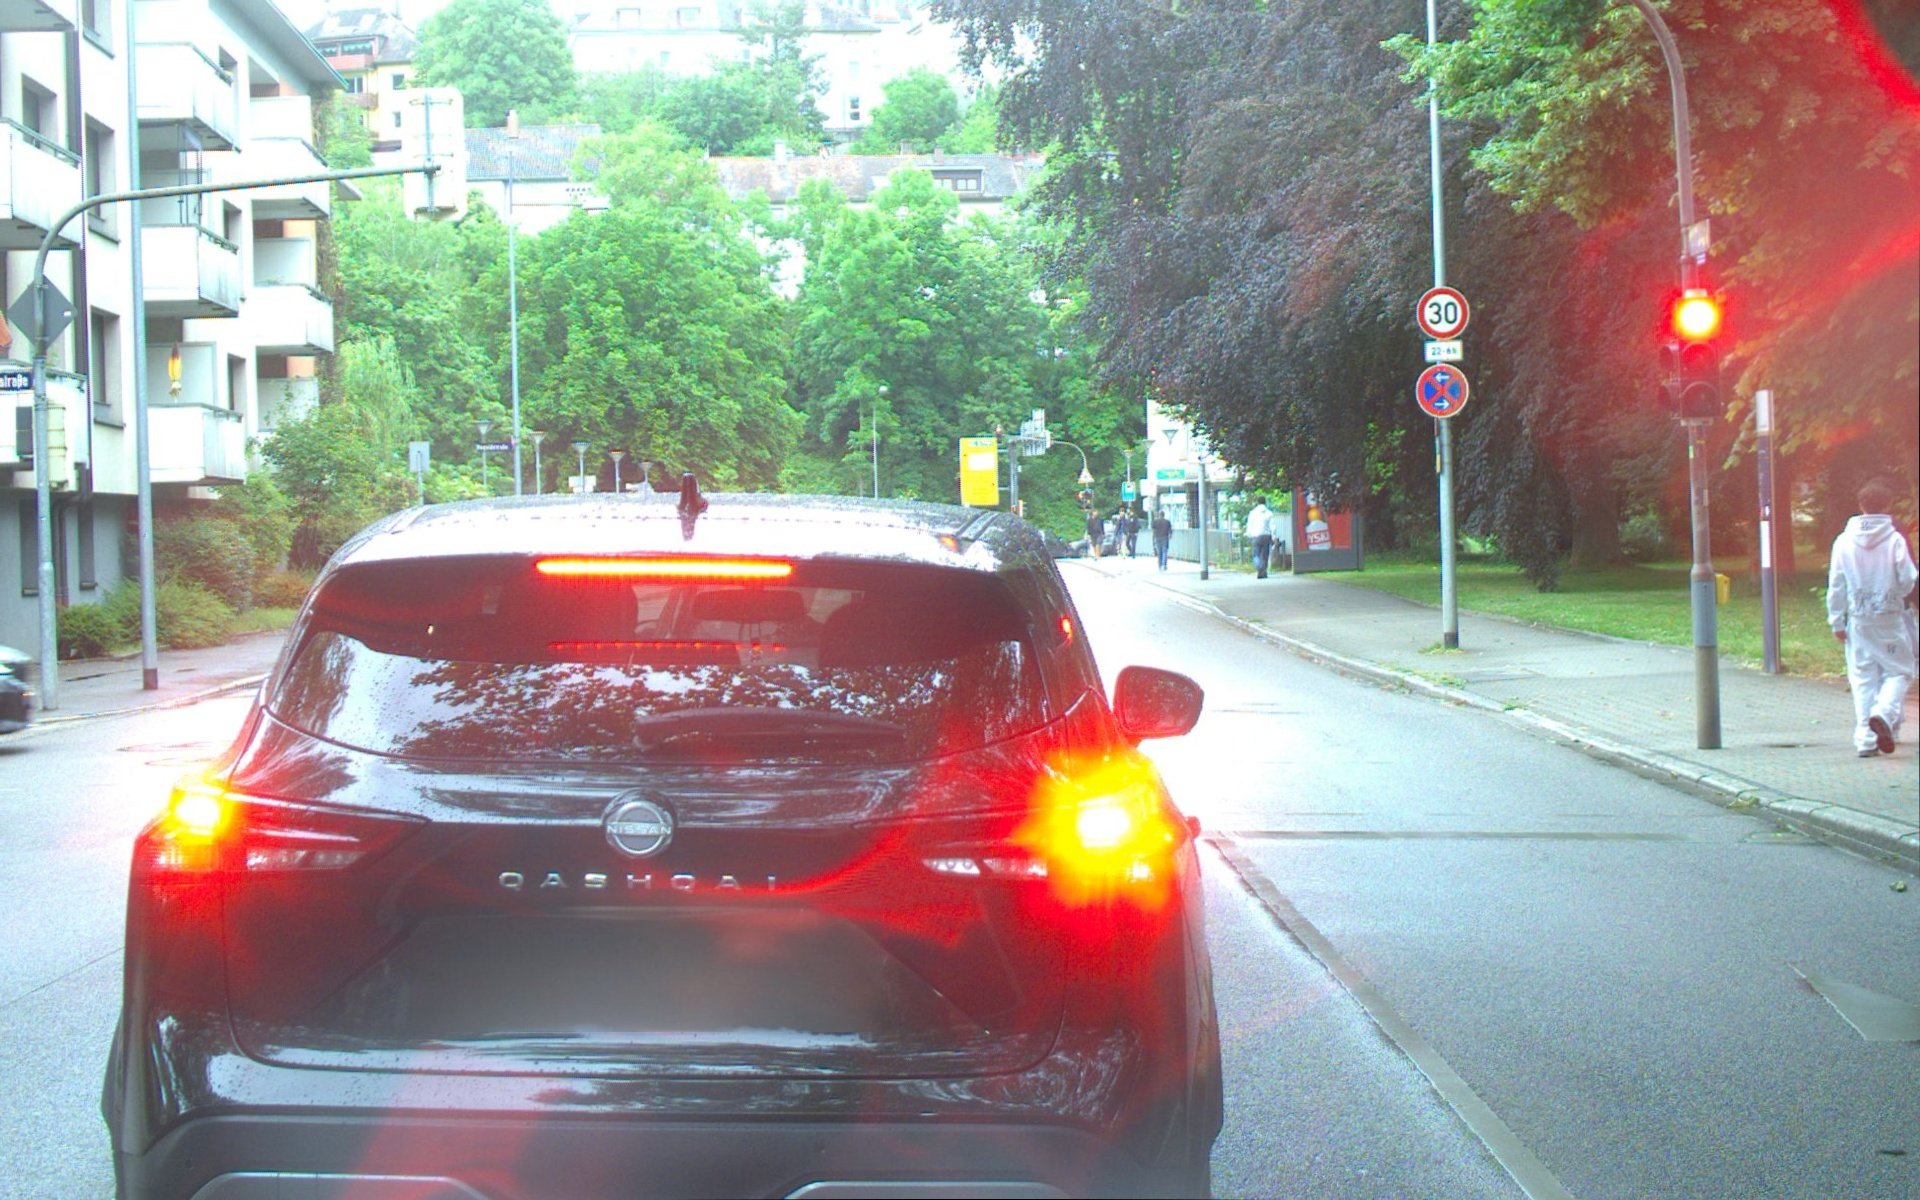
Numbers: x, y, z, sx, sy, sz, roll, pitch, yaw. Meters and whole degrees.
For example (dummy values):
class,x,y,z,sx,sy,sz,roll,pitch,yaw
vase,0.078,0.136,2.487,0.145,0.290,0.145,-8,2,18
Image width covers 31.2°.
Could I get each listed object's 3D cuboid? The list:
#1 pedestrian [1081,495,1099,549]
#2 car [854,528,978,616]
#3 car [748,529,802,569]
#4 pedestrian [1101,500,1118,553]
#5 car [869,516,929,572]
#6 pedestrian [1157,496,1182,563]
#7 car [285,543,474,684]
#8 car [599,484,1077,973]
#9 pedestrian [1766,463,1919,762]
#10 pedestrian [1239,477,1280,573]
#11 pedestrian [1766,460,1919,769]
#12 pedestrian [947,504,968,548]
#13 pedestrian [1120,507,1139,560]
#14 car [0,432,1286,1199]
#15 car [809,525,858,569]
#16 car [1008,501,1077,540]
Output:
class,x,y,z,sx,sy,sz,roll,pitch,yaw
pedestrian,4.421,-2.651,116.951,0.508,1.796,0.619,-2,1,-1
car,-0.812,-0.513,59.869,1.825,1.399,4.651,-2,1,-4
car,-7.523,-2.092,139.744,1.970,1.527,3.968,-2,1,-1
pedestrian,5.085,-2.508,117.061,0.508,1.796,0.659,-2,1,3
car,-1.734,-1.615,98.398,1.634,1.527,3.968,-2,1,-1
pedestrian,5.762,-1.941,94.458,0.509,1.796,0.619,-2,1,15
car,-6.859,0.122,40.924,1.795,1.528,3.868,-2,1,-4
car,-0.467,0.436,14.472,1.698,1.739,3.641,-2,1,-1
pedestrian,5.947,0.066,22.482,1.035,1.869,0.658,-4,1,-11
pedestrian,6.352,-1.586,73.025,0.725,2.007,0.851,-2,1,0
pedestrian,5.774,0.072,21.730,1.035,1.869,0.658,-4,1,-11
pedestrian,-0.087,-2.910,135.085,0.509,1.667,0.658,-2,1,27
pedestrian,5.767,-2.264,116.892,0.508,1.796,0.619,-2,1,-2
car,-0.503,0.553,7.009,1.913,1.674,4.000,0,1,0
car,-4.688,-1.977,127.863,1.634,1.527,3.968,-2,1,-1
car,3.876,-3.684,160.392,1.996,1.729,3.996,1,1,21
